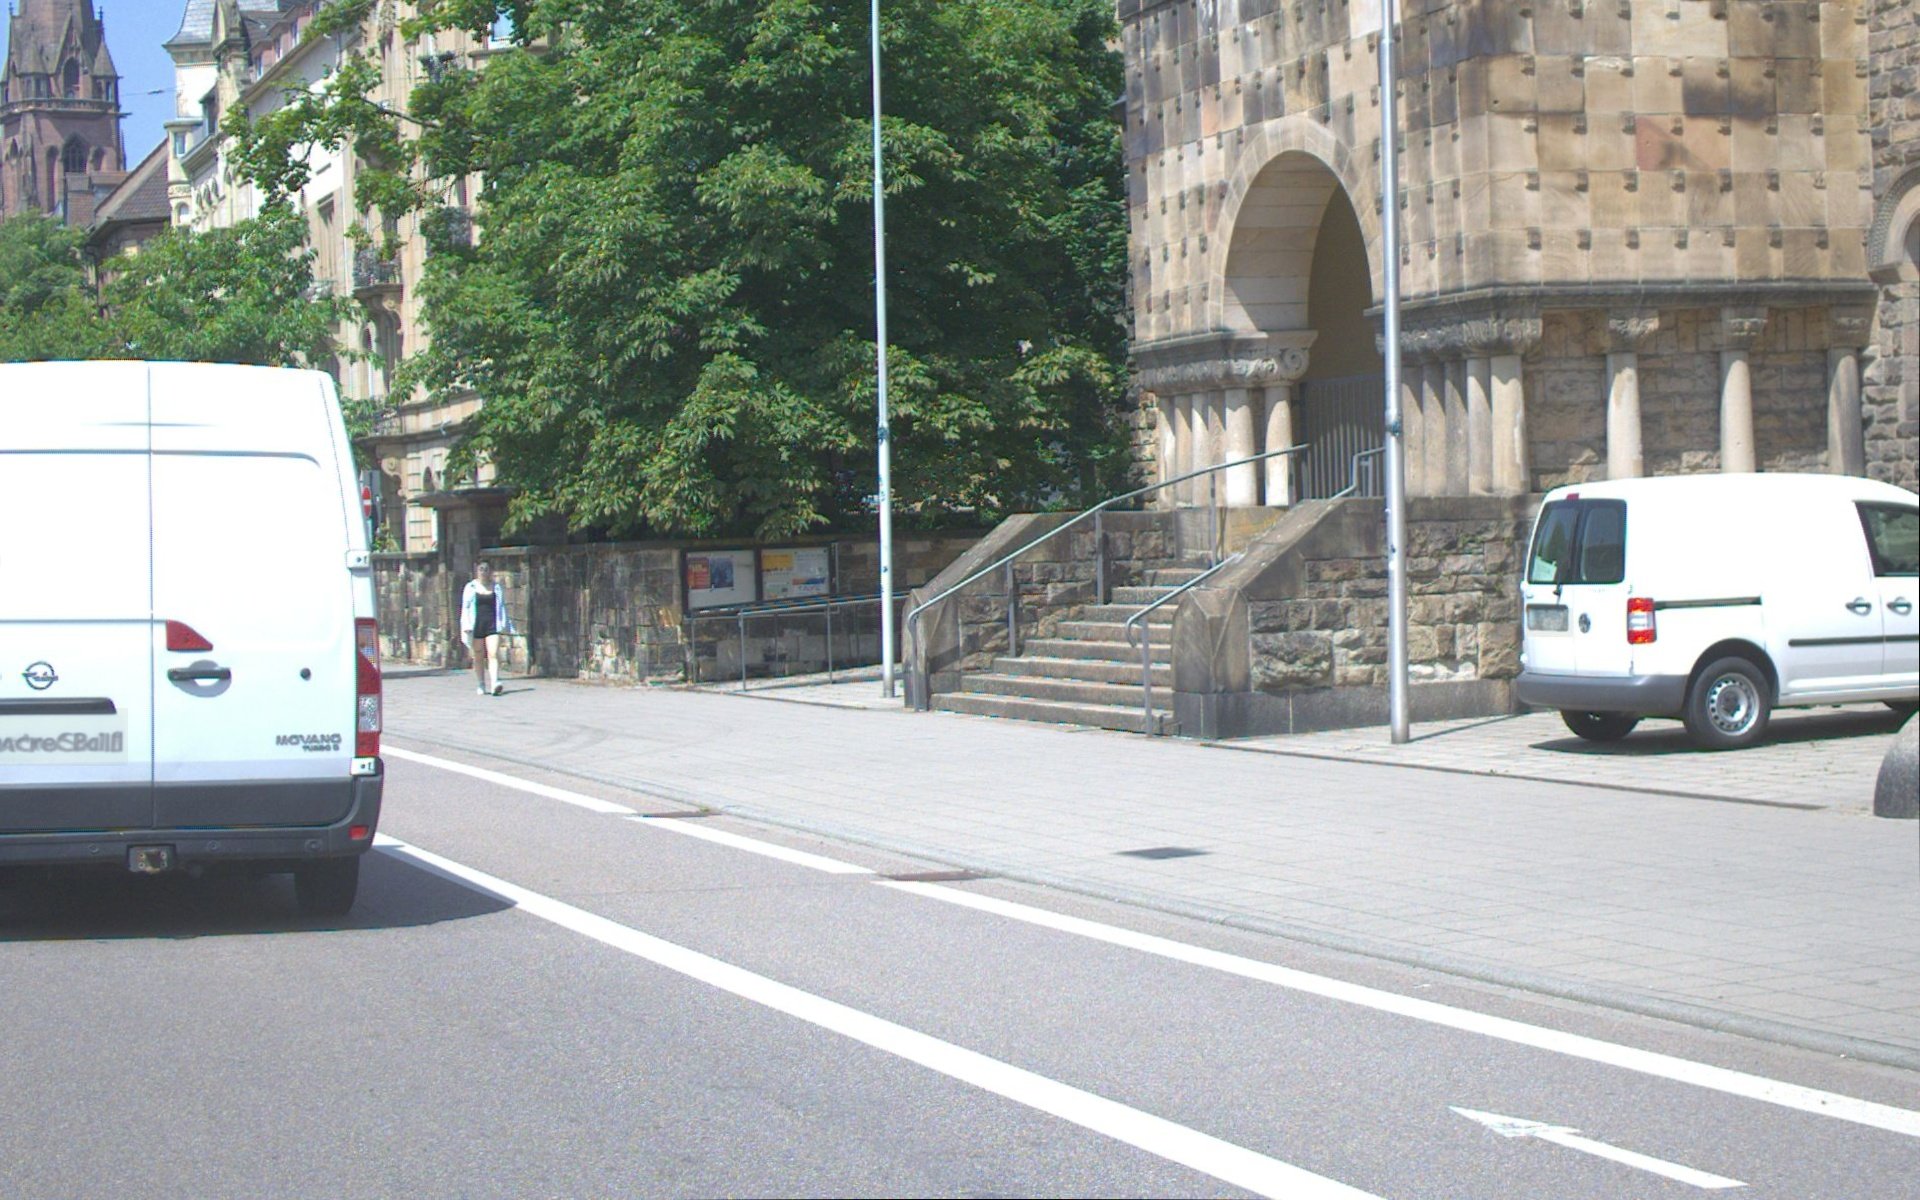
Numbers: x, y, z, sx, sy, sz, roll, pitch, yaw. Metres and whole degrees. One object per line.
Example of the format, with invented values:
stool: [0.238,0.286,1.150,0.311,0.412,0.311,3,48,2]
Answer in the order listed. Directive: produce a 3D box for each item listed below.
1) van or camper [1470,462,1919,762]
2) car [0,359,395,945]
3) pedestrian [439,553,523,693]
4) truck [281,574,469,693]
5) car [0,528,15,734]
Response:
van or camper: [5.799,0.015,23.936,3.986,1.819,1.803,-4,2,-21]
car: [-4.281,0.192,16.938,2.116,2.450,5.056,-1,1,-19]
pedestrian: [-5.735,0.267,41.145,0.793,1.645,0.967,-1,1,-18]
truck: [-8.144,0.422,47.563,1.789,1.521,4.466,-2,1,-20]
car: [-10.543,0.304,33.918,1.916,1.937,4.265,-2,1,-21]
